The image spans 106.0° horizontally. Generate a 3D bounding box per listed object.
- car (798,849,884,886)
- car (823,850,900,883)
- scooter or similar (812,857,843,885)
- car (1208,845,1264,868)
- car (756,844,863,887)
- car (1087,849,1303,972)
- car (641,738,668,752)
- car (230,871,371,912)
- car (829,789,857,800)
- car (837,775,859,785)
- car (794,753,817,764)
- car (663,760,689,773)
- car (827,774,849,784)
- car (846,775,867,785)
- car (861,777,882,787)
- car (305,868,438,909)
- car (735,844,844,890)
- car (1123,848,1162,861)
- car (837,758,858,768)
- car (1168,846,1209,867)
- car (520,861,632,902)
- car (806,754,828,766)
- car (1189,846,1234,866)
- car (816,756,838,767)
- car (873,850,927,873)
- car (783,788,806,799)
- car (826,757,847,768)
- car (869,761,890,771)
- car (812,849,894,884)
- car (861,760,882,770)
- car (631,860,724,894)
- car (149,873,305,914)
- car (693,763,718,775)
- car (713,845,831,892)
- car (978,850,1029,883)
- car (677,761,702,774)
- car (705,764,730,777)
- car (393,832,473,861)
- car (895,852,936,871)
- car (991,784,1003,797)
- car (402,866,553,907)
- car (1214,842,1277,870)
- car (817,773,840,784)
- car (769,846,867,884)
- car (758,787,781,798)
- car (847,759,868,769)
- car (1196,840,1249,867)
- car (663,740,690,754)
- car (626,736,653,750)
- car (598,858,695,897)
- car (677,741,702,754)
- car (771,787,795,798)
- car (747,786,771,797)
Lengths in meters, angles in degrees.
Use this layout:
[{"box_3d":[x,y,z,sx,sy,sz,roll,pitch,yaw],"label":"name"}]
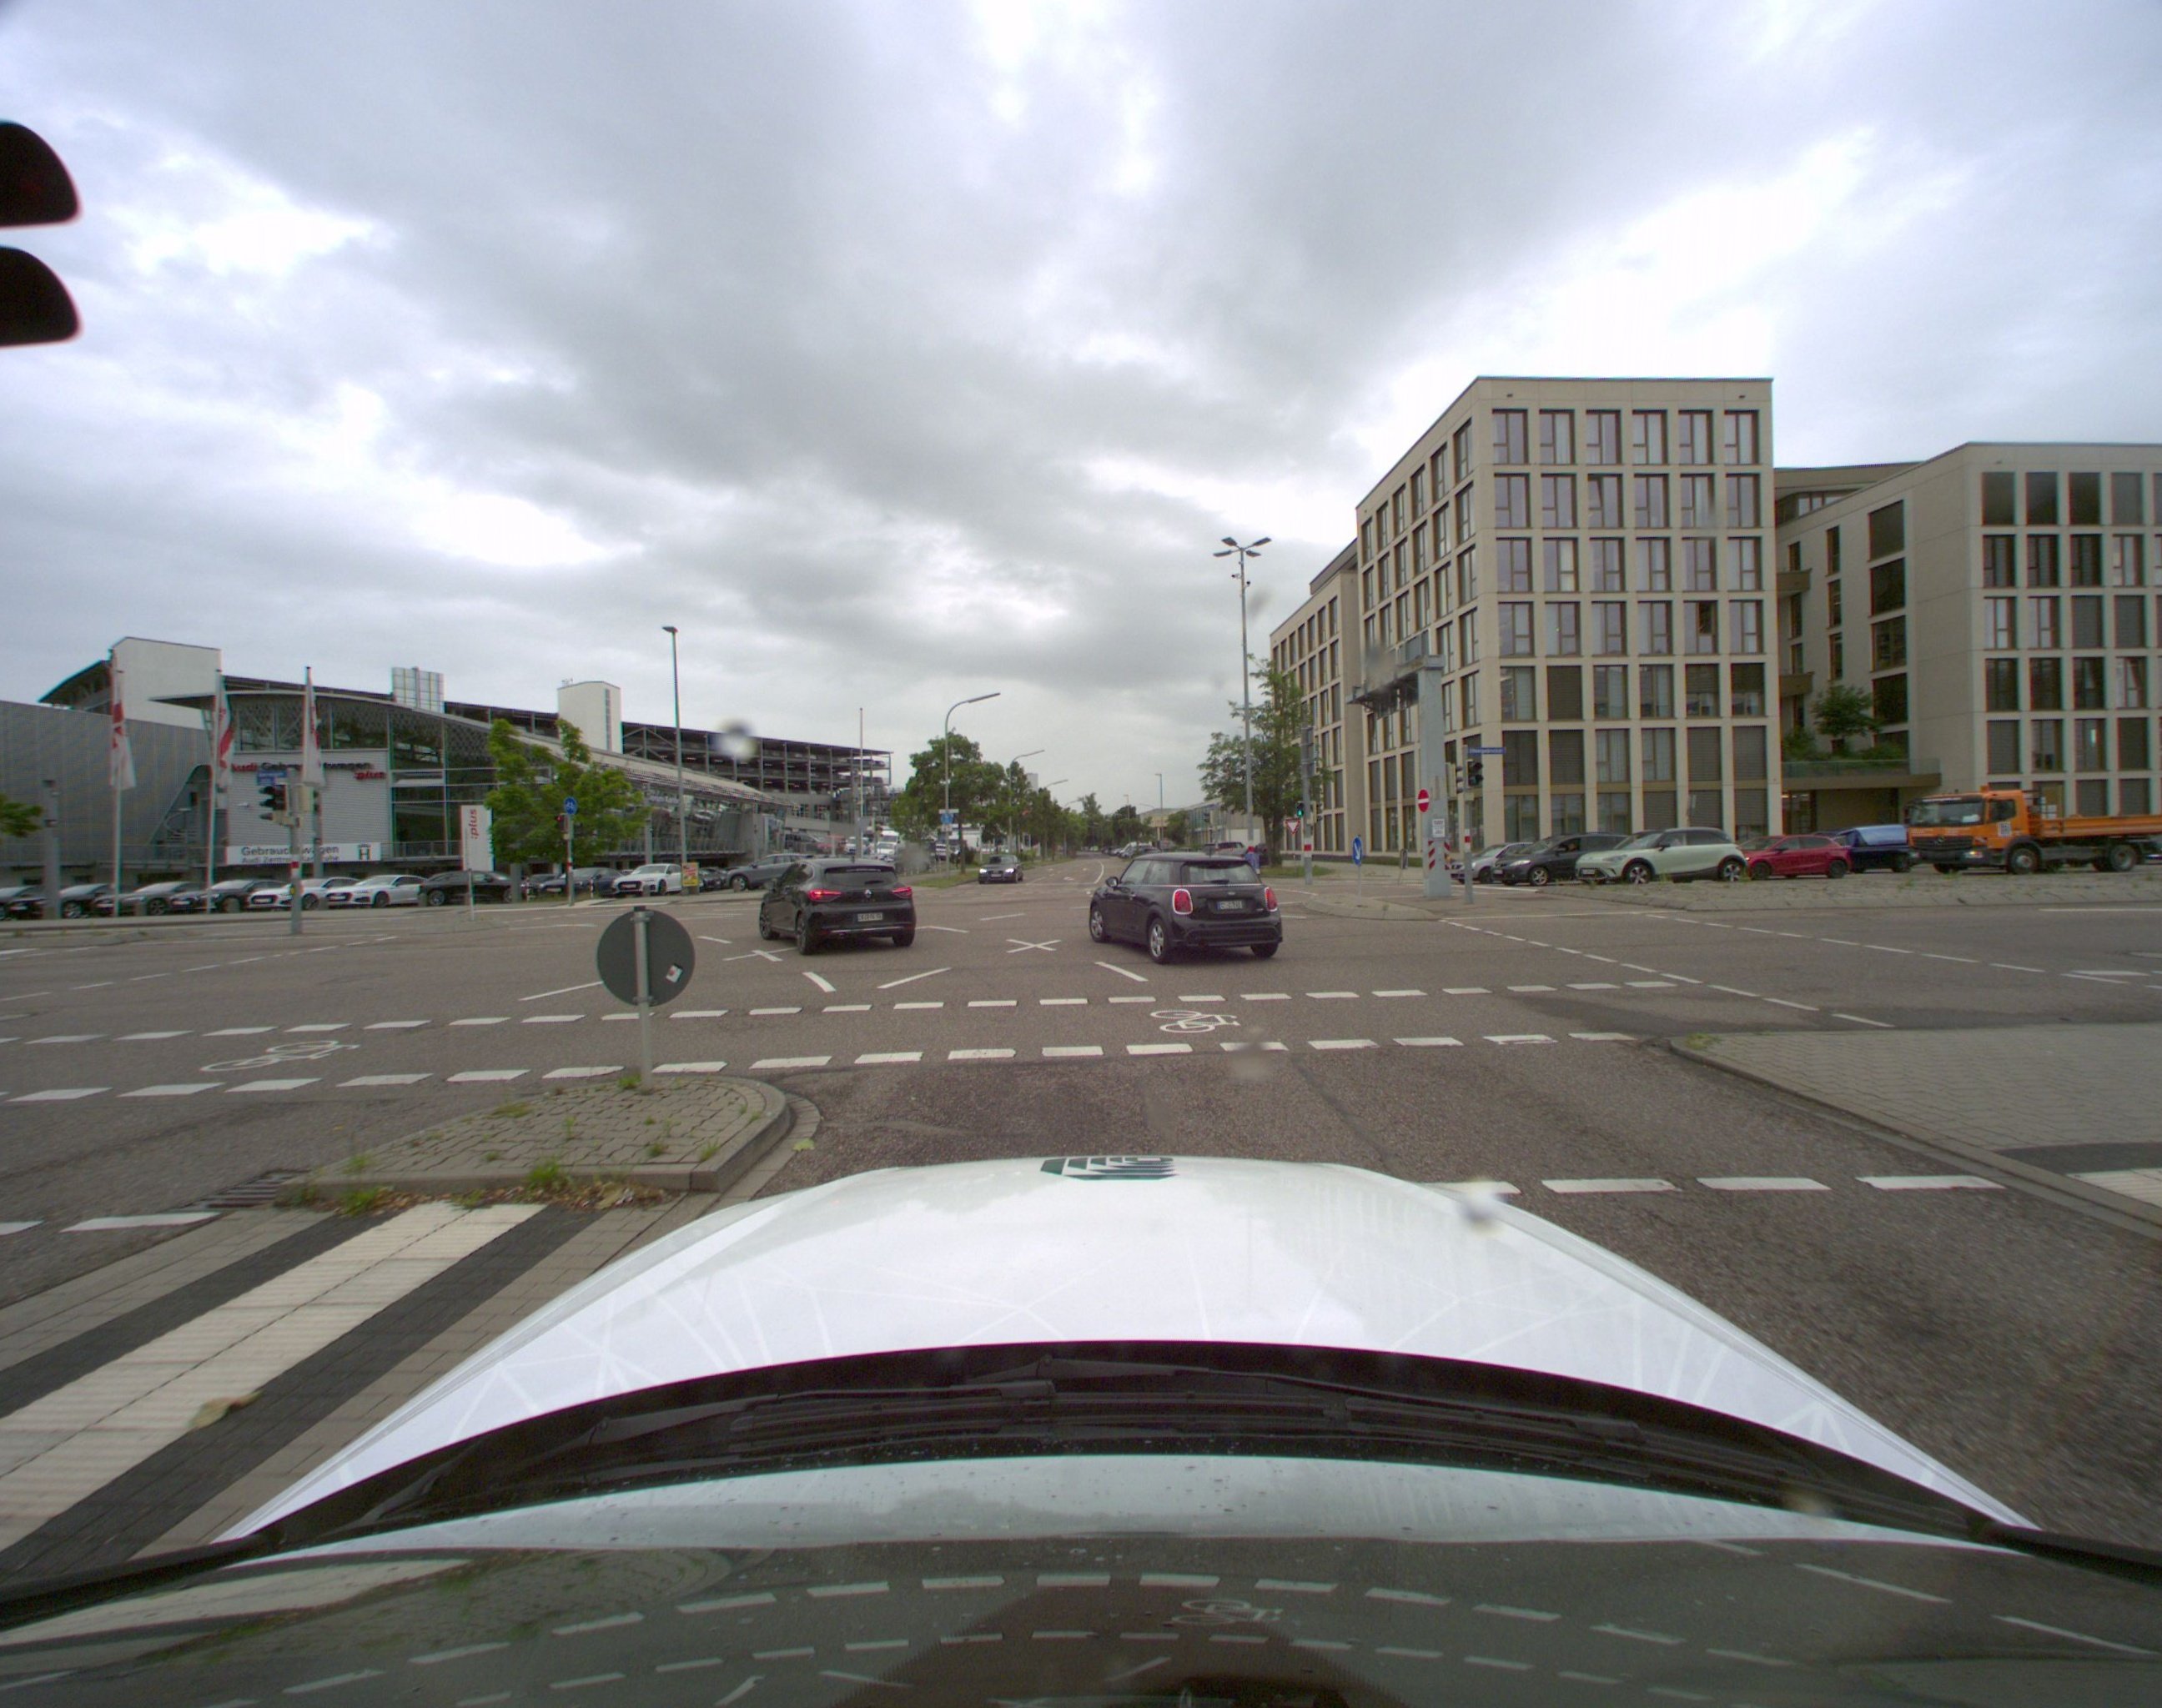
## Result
[{"box_3d":[-15.375,0.850,52.347,4.884,2.013,1.997,-3,-1,-5],"label":"car"},{"box_3d":[-15.520,0.892,57.898,4.884,2.013,1.997,-3,-1,-5],"label":"car"},{"box_3d":[-11.249,0.741,36.153,0.553,1.218,1.566,1,1,15],"label":"scooter or similar"},{"box_3d":[11.222,0.185,58.849,4.157,1.551,1.865,-1,-1,-45],"label":"car"},{"box_3d":[-14.730,0.610,44.410,5.013,2.013,2.263,-3,-1,-4],"label":"car"},{"box_3d":[1.459,0.668,11.863,1.790,1.415,3.623,0,2,-17],"label":"car"},{"box_3d":[-67.632,-17.312,129.134,3.948,1.667,2.013,-1,0,32],"label":"car"},{"box_3d":[-31.344,1.506,32.907,1.866,1.486,4.040,-2,-3,-2],"label":"car"},{"box_3d":[-47.698,-11.855,162.954,5.263,1.945,2.224,-1,0,29],"label":"car"},{"box_3d":[-46.522,-14.817,162.505,3.948,1.667,2.013,-1,0,32],"label":"car"},{"box_3d":[-51.848,-17.921,153.460,3.948,1.667,2.013,-1,0,32],"label":"car"},{"box_3d":[-65.386,-14.171,131.501,3.948,1.667,2.013,-1,0,32],"label":"car"},{"box_3d":[-47.832,-14.710,159.983,3.948,1.667,2.013,-1,0,32],"label":"car"},{"box_3d":[-45.389,-14.873,164.460,3.948,1.667,2.013,-1,0,32],"label":"car"},{"box_3d":[-43.187,-14.786,167.806,3.948,1.667,2.013,-1,0,32],"label":"car"},{"box_3d":[-28.786,1.415,33.247,1.842,1.486,4.194,-2,-3,-2],"label":"car"},{"box_3d":[-14.741,0.633,41.402,4.692,2.013,1.997,-3,-1,-4],"label":"car"},{"box_3d":[8.357,0.046,111.555,5.160,1.720,2.142,0,-1,-2],"label":"car"},{"box_3d":[-46.588,-18.173,162.562,3.948,1.667,2.013,-1,0,32],"label":"car"},{"box_3d":[9.516,0.239,71.769,3.452,1.732,1.745,1,-1,-41],"label":"car"},{"box_3d":[-20.952,1.168,34.055,2.059,1.486,4.509,-3,-3,-4],"label":"car"},{"box_3d":[-50.451,-17.974,155.760,3.948,1.667,2.013,-1,0,32],"label":"car"},{"box_3d":[10.484,0.146,65.456,1.676,1.511,3.840,-2,-1,43],"label":"car"},{"box_3d":[-49.330,-17.983,158.382,3.948,1.667,2.013,-1,0,32],"label":"car"},{"box_3d":[-14.566,0.619,65.728,3.977,1.838,1.758,0,-1,-2],"label":"car"},{"box_3d":[-53.162,-11.236,151.284,3.948,1.667,2.013,-1,0,32],"label":"car"},{"box_3d":[-48.146,-18.040,160.358,3.948,1.667,2.013,-1,0,32],"label":"car"},{"box_3d":[-42.113,-18.292,169.961,3.948,1.667,2.013,-1,0,32],"label":"car"},{"box_3d":[-15.346,0.854,55.067,4.884,2.013,1.997,-3,-1,-5],"label":"car"},{"box_3d":[-43.248,-18.269,168.019,3.948,1.667,2.013,-1,0,32],"label":"car"},{"box_3d":[-25.474,1.441,51.518,4.790,1.939,1.998,-2,0,-3],"label":"car"},{"box_3d":[-34.089,1.594,32.703,1.860,1.486,4.228,-2,-3,-2],"label":"car"},{"box_3d":[-62.560,-14.119,135.664,3.948,1.667,2.013,-1,0,32],"label":"car"},{"box_3d":[-14.664,0.679,38.832,4.763,1.863,1.997,-3,-1,-5],"label":"car"},{"box_3d":[-3.806,0.579,40.879,1.971,1.551,4.615,-1,0,1],"label":"car"},{"box_3d":[-64.188,-14.145,133.515,3.948,1.667,2.013,-1,0,32],"label":"car"},{"box_3d":[-61.515,-14.098,137.652,3.948,1.667,2.013,-1,0,32],"label":"car"},{"box_3d":[-39.332,-0.400,49.550,1.816,1.662,3.994,0,-1,-4],"label":"car"},{"box_3d":[-17.600,0.776,86.782,3.977,2.014,1.998,0,-1,-3],"label":"car"},{"box_3d":[-15.122,-11.486,147.053,1.989,1.882,3.995,-2,-1,-4],"label":"car"},{"box_3d":[-25.001,1.360,33.873,4.728,1.486,1.891,-2,-3,-3],"label":"car"},{"box_3d":[11.005,0.121,54.463,4.154,1.768,1.867,-1,-1,-39],"label":"car"},{"box_3d":[-48.996,-14.652,158.023,3.948,1.667,2.013,-1,0,32],"label":"car"},{"box_3d":[-15.122,0.632,47.040,4.940,1.876,2.050,-3,-1,-6],"label":"car"},{"box_3d":[-56.085,-11.063,146.637,3.948,1.667,2.013,-1,0,32],"label":"car"},{"box_3d":[-45.155,-18.143,164.668,3.948,1.667,2.013,-1,0,32],"label":"car"},{"box_3d":[10.835,-0.060,62.054,1.974,1.965,4.271,-2,-1,42],"label":"car"},{"box_3d":[-65.387,-17.281,131.607,3.948,1.667,2.013,-1,0,32],"label":"car"},{"box_3d":[-68.784,-17.341,126.960,3.948,1.667,2.013,-1,0,32],"label":"car"},{"box_3d":[-18.150,0.995,34.241,1.864,1.486,4.225,-2,-2,-2],"label":"car"},{"box_3d":[-64.307,-17.467,133.787,3.948,1.667,2.013,-1,0,32],"label":"car"},{"box_3d":[-54.608,-11.266,149.232,3.948,1.667,2.013,-1,0,32],"label":"car"},{"box_3d":[-57.122,-11.086,144.668,3.948,1.667,2.013,-1,0,32],"label":"car"}]
